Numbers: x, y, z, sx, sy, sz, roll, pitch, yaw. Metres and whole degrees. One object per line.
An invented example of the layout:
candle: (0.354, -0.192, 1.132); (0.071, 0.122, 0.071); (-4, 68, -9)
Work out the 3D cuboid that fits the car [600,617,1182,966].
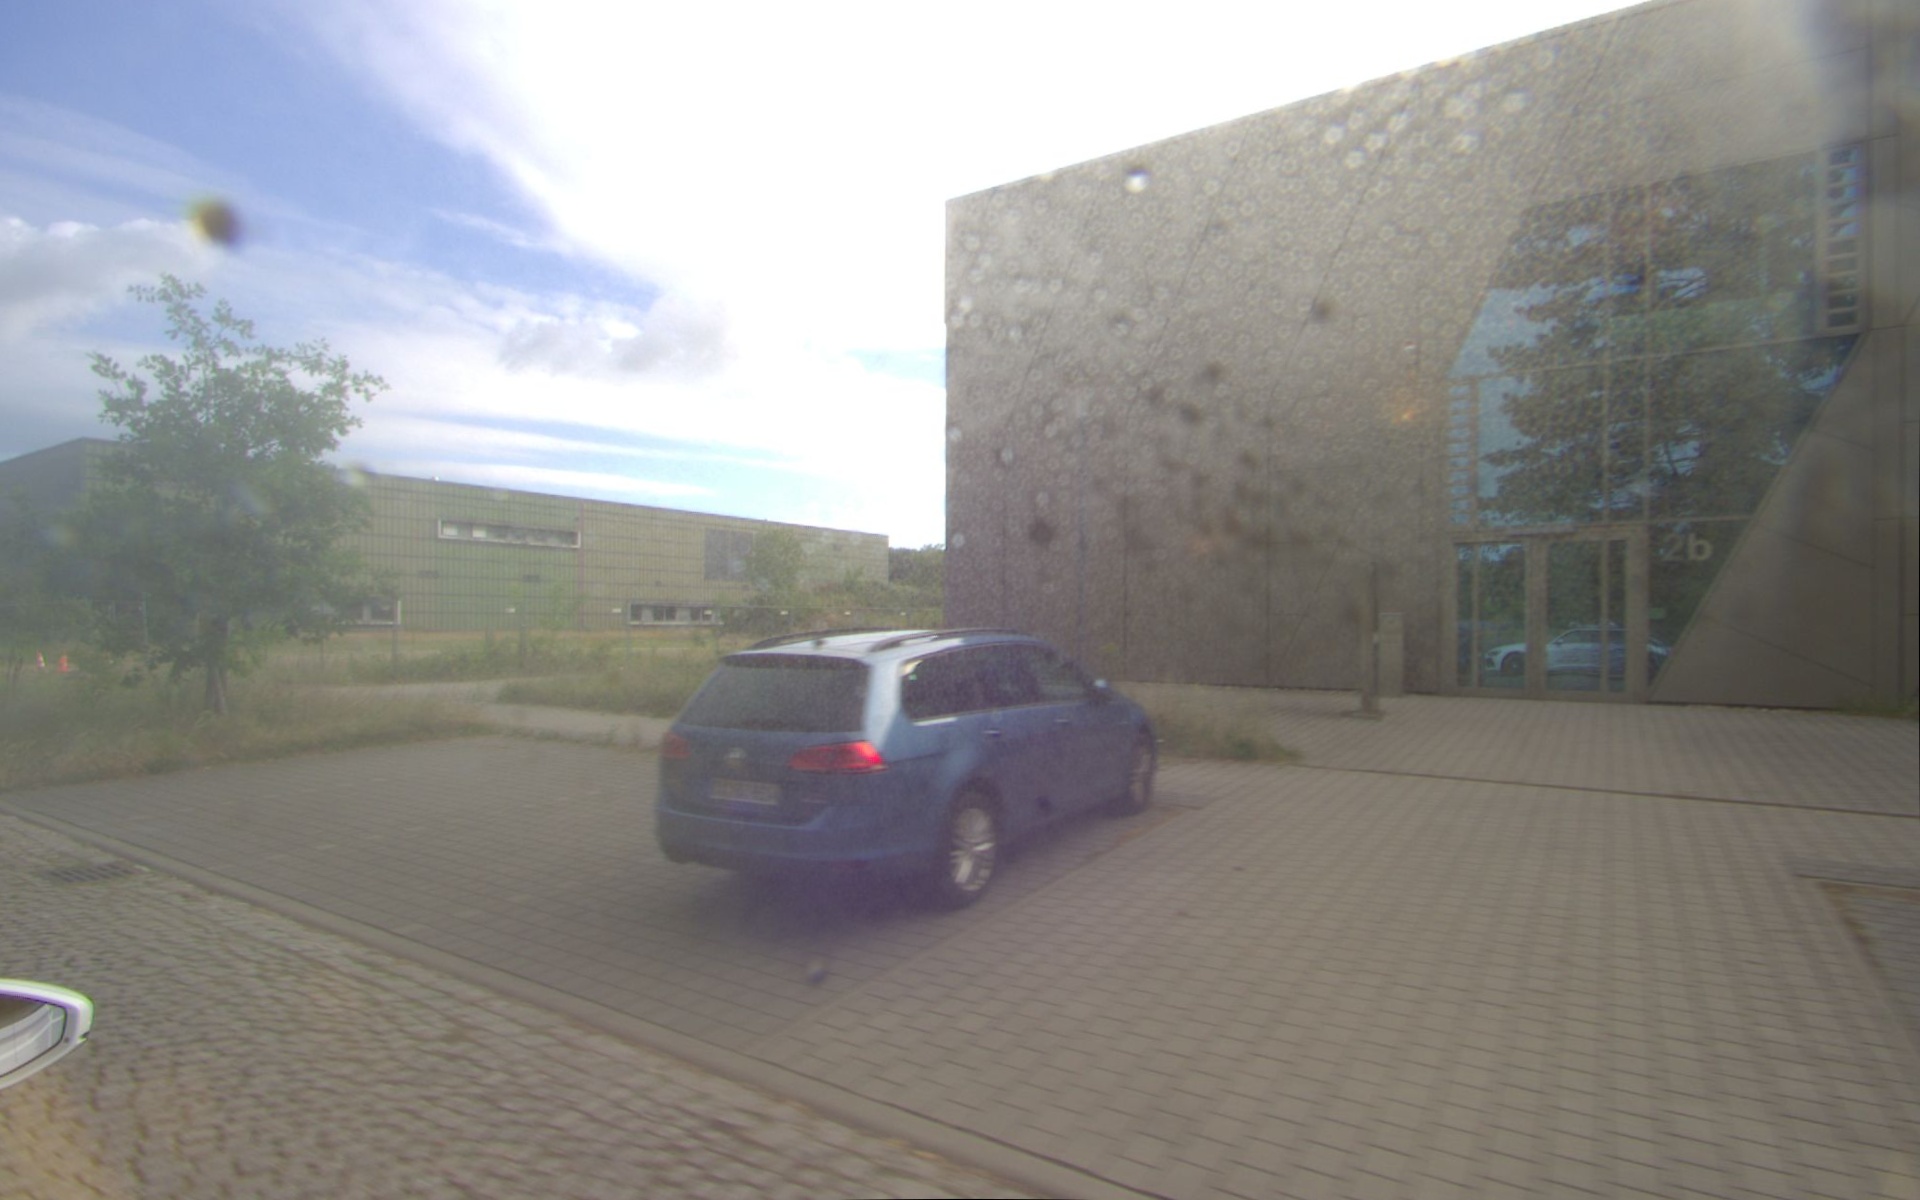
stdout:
car: (-0.039, 0.900, 6.910); (1.796, 1.463, 4.514); (0, 1, 30)
